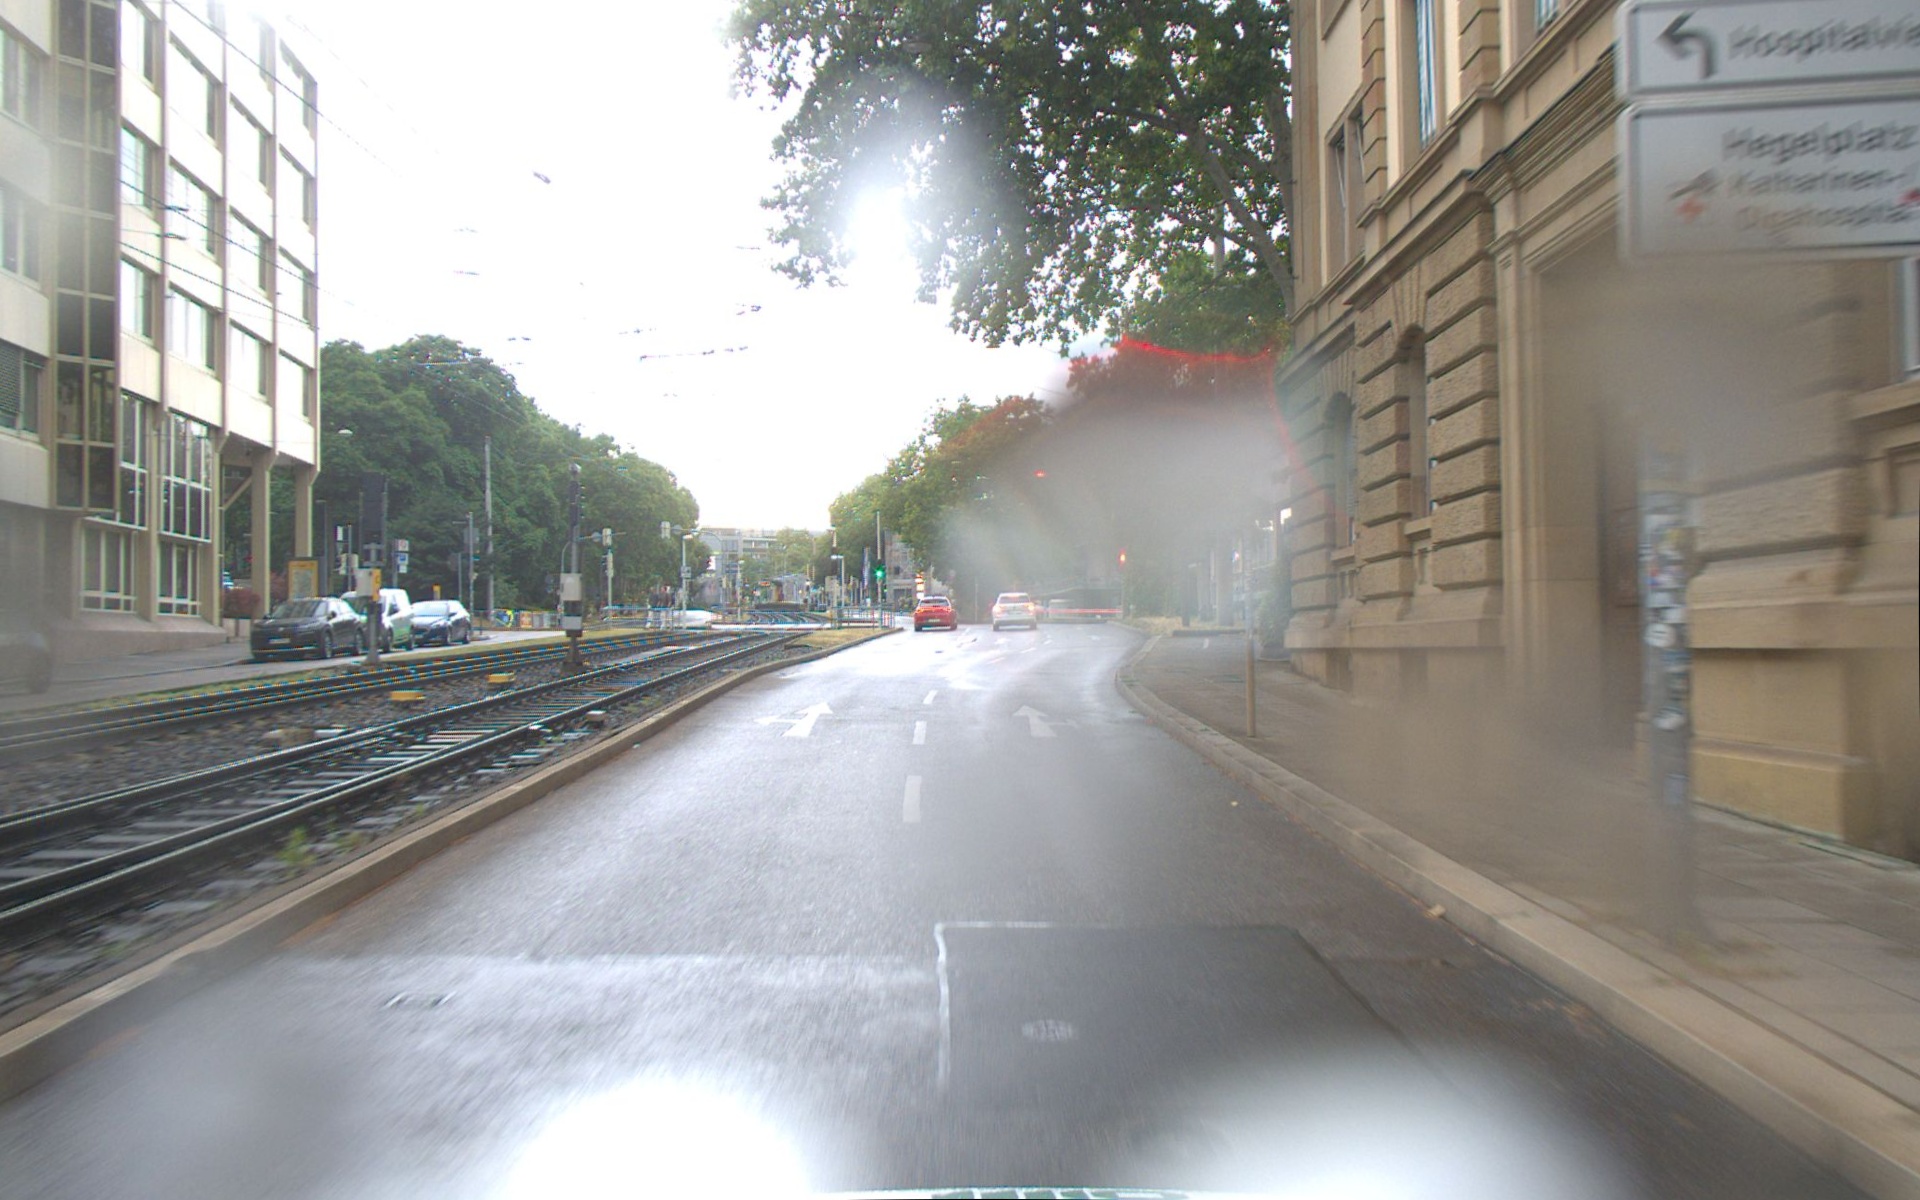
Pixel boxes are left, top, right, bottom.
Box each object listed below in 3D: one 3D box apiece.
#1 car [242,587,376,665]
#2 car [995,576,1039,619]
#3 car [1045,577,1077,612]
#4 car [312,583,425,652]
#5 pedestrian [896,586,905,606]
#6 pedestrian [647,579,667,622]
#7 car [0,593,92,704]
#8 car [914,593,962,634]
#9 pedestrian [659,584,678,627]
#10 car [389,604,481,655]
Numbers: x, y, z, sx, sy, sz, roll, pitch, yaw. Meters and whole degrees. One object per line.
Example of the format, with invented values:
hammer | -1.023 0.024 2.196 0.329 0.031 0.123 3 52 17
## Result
car | -16.715 0.670 42.735 1.955 1.882 4.690 0 -1 -5
car | 2.302 -0.126 66.115 1.644 1.604 4.254 -2 0 2
car | 9.501 -0.489 156.590 2.494 3.189 5.028 0 -1 -3
car | -17.064 0.515 47.969 1.955 1.882 4.690 0 -1 -5
pedestrian | -5.761 -0.387 159.795 0.742 1.855 0.699 0 -1 -11
pedestrian | -12.841 0.037 70.005 0.631 1.819 0.804 1 -1 -26
car | -15.791 0.749 26.177 1.955 1.703 4.690 0 -1 -5
car | -0.903 0.590 70.019 1.940 1.669 4.416 0 -1 0
pedestrian | -12.221 0.237 69.369 0.630 1.819 0.806 1 -1 -21
car | -17.216 0.968 54.440 1.955 1.610 4.544 0 -1 -5
